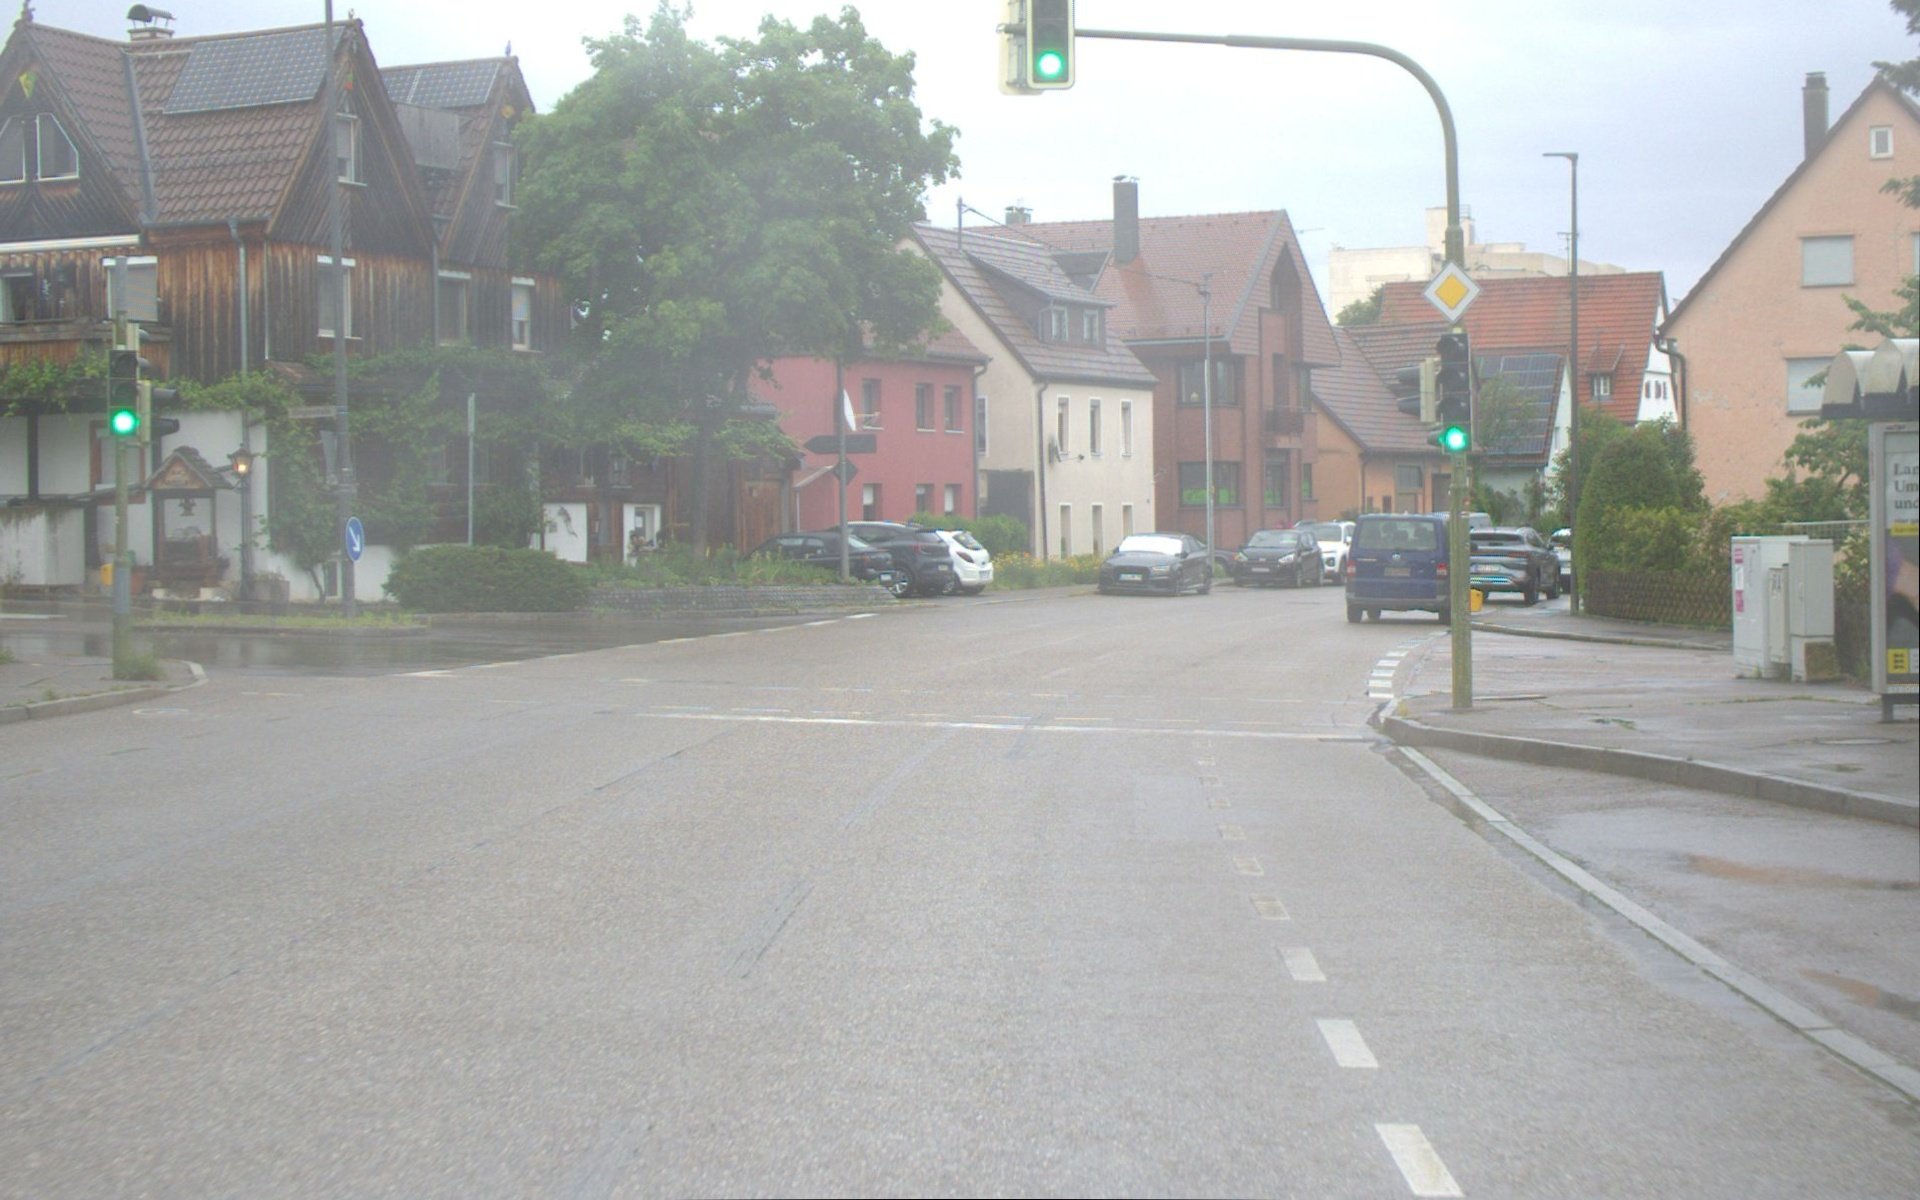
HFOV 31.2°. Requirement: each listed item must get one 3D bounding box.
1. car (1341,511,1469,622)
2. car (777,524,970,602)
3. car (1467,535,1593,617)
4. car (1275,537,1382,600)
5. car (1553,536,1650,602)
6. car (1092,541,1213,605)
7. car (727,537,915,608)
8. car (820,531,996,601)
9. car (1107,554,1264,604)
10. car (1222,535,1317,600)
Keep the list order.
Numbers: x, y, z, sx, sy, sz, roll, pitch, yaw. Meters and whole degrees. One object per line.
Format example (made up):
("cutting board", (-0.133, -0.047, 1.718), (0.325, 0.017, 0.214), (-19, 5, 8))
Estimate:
("car", (8.113, -0.627, 62.353), (1.931, 1.896, 4.791), (1, 1, 11))
("car", (-1.811, -0.787, 72.382), (3.580, 1.501, 1.853), (3, 2, 24))
("car", (12.780, -0.557, 76.907), (1.910, 1.711, 4.551), (2, 2, 20))
("car", (9.935, -0.859, 92.397), (1.766, 1.613, 4.651), (0, 1, 20))
("car", (16.150, -0.782, 86.399), (1.804, 1.589, 4.607), (1, 1, 18))
("car", (4.390, -0.632, 77.863), (1.628, 1.351, 4.107), (2, 1, 19))
("car", (-2.832, -0.562, 69.926), (3.450, 1.413, 1.631), (0, 1, 22))
("car", (-1.126, -0.739, 74.593), (3.465, 1.474, 1.589), (0, 1, 22))
("car", (6.548, -0.601, 99.797), (4.178, 1.398, 1.786), (-1, 1, 27))
("car", (7.912, -0.839, 87.700), (1.607, 1.612, 3.273), (0, 1, 21))
